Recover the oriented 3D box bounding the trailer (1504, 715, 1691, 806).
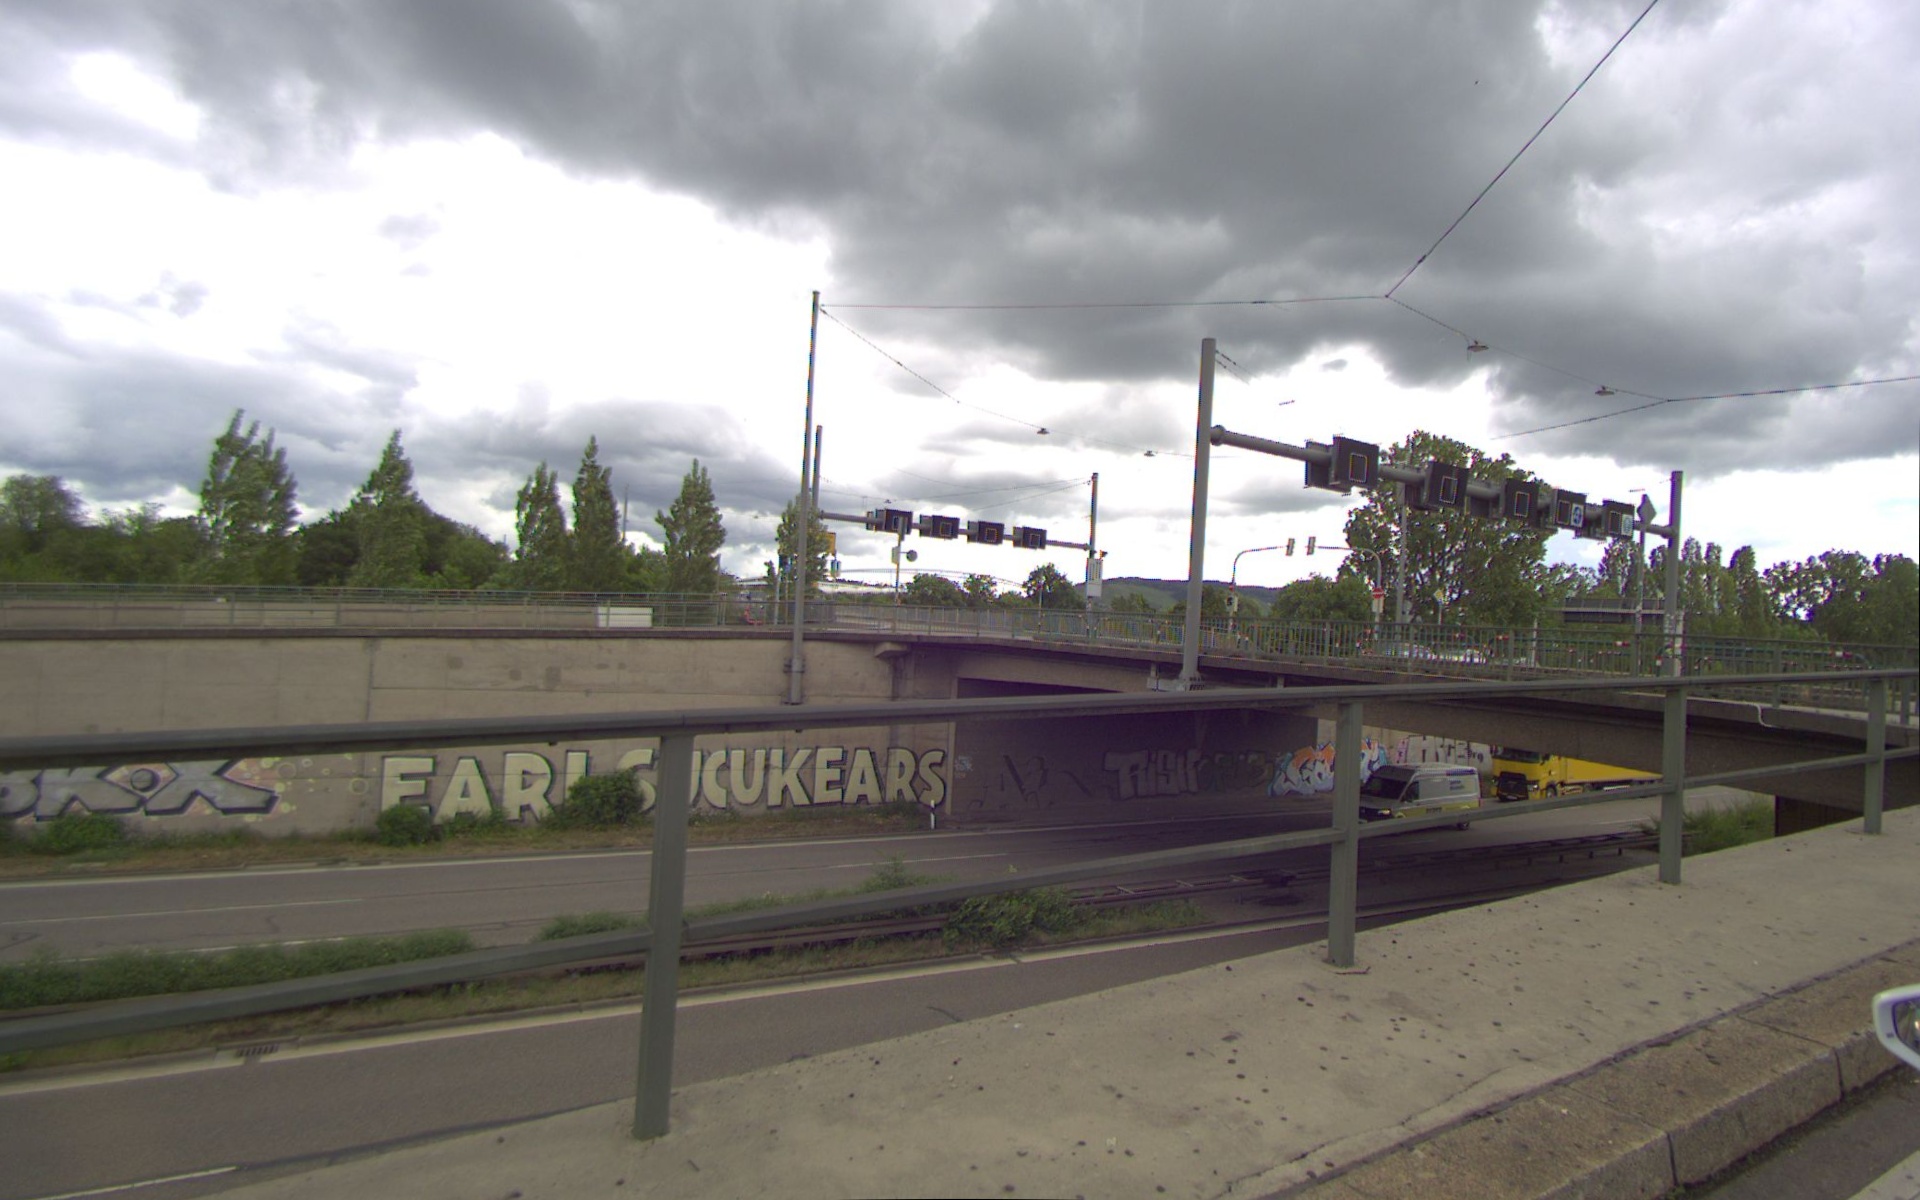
[{"bbox_3d":[35.656,8.773,55.831,13.532,4.317,3.223,5,-3,-32],"label":"trailer"}]

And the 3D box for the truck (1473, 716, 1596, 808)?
[{"bbox_3d":[29.867,8.310,52.165,5.741,4.236,3.223,4,-3,-32],"label":"truck"}]

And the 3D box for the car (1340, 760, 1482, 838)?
[{"bbox_3d":[18.530,8.032,41.092,6.641,2.661,1.983,5,-5,-32],"label":"car"}]
